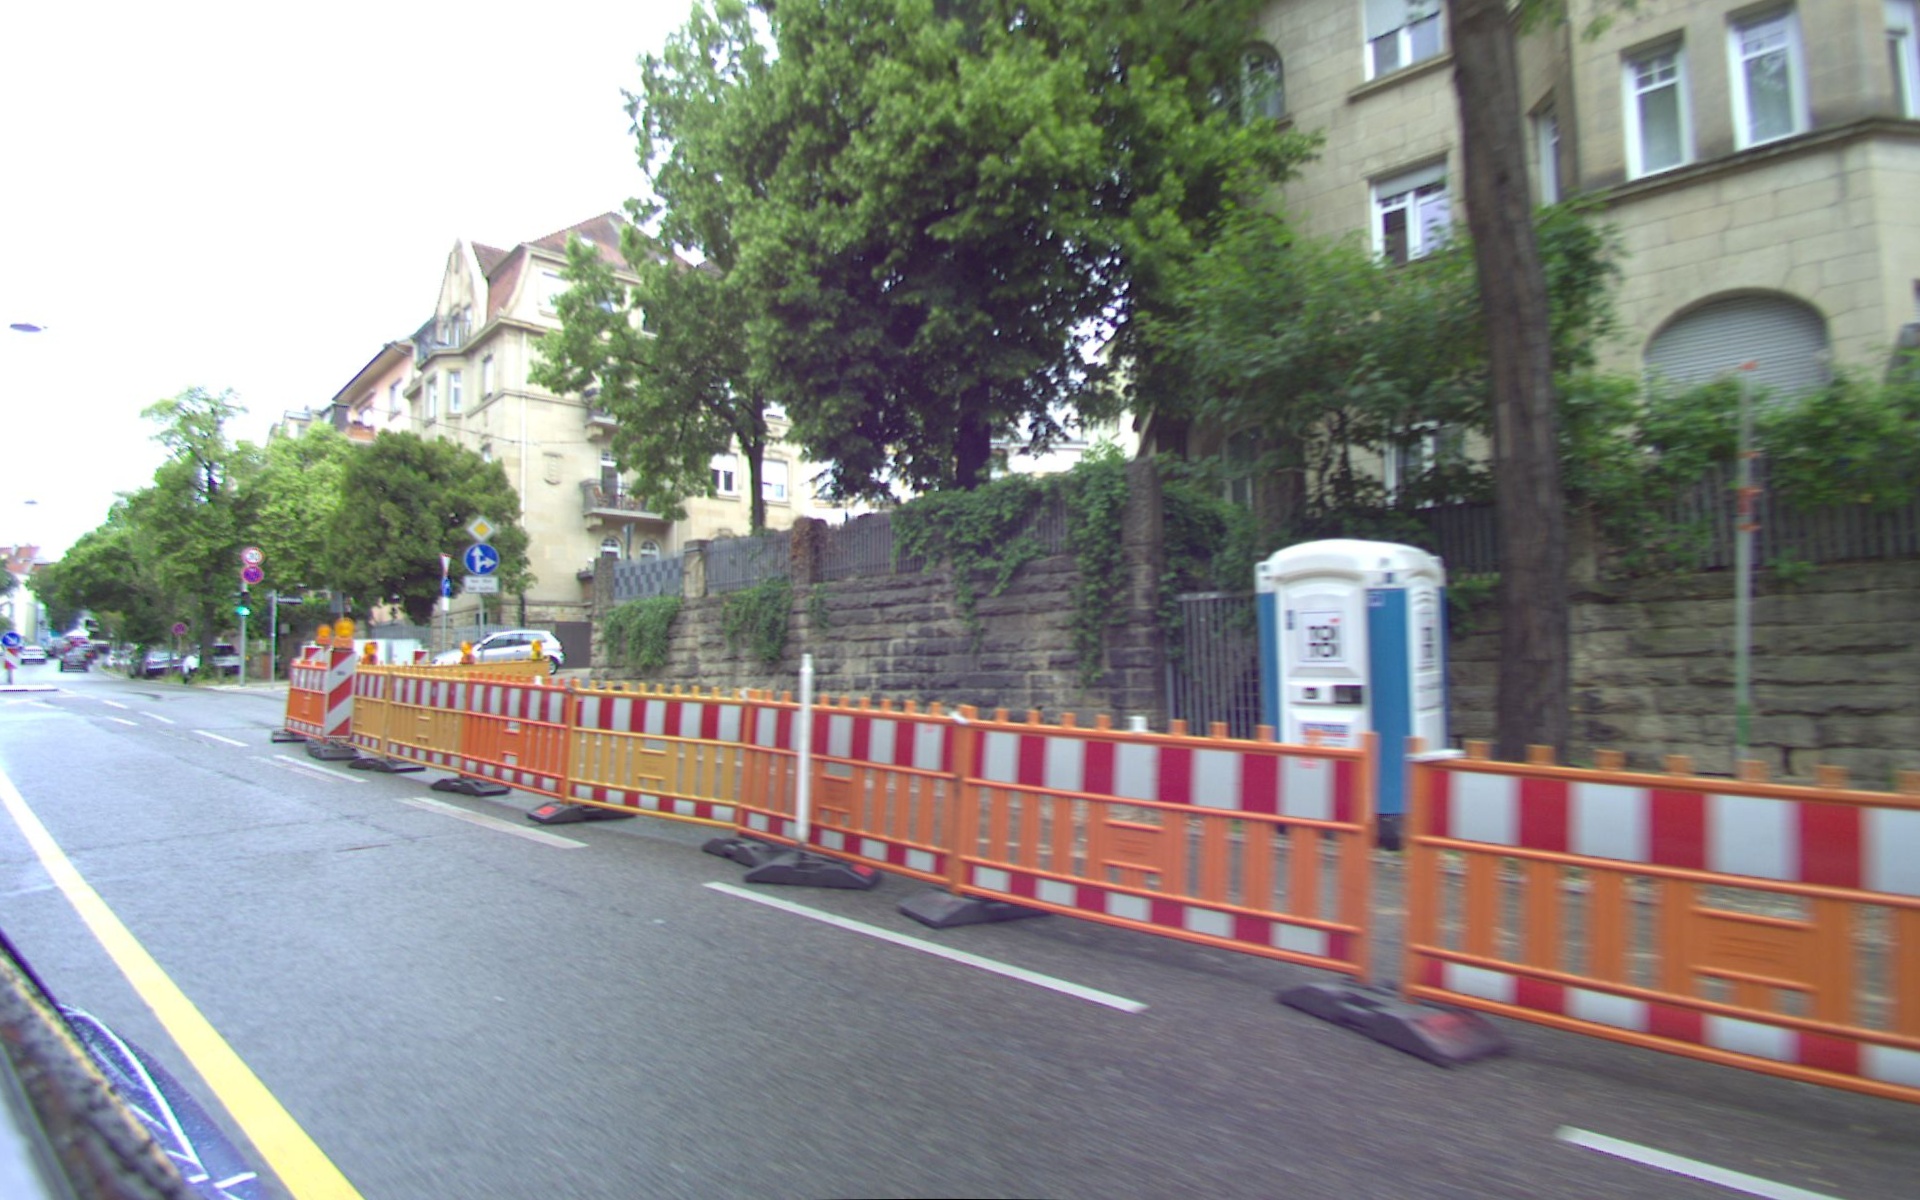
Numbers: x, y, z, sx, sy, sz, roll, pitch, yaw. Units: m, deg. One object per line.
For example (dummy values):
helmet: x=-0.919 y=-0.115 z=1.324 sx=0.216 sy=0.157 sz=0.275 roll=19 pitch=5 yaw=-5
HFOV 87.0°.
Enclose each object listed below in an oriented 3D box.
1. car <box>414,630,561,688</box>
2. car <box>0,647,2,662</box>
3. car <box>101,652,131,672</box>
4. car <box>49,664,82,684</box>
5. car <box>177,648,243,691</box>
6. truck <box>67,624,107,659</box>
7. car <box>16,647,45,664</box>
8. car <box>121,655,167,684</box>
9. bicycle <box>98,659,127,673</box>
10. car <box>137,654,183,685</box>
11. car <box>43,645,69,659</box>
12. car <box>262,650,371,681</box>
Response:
car: x=-14.695 y=1.791 z=31.536 sx=3.813 sy=1.419 sz=1.830 roll=-3 pitch=2 yaw=-38
car: x=-107.142 y=5.993 z=111.471 sx=1.896 sy=1.573 sz=4.020 roll=6 pitch=-5 yaw=-38
car: x=-73.818 y=5.422 z=88.496 sx=1.721 sy=1.571 sz=4.304 roll=-1 pitch=-1 yaw=-45
car: x=-72.315 y=6.008 z=81.893 sx=1.792 sy=1.529 sz=4.555 roll=4 pitch=-7 yaw=-40
car: x=-30.412 y=2.765 z=41.000 sx=1.720 sy=1.571 sz=4.307 roll=-1 pitch=-1 yaw=-42
truck: x=-103.213 y=4.924 z=119.551 sx=9.310 sy=3.884 sz=2.618 roll=-3 pitch=-5 yaw=44
car: x=-86.158 y=5.150 z=93.867 sx=1.750 sy=1.529 sz=4.106 roll=2 pitch=-3 yaw=-40
car: x=-50.732 y=4.278 z=62.888 sx=4.303 sy=1.571 sz=1.722 roll=-2 pitch=0 yaw=44
bicycle: x=-75.846 y=5.891 z=90.558 sx=1.952 sy=1.245 sz=0.658 roll=3 pitch=-3 yaw=-43
car: x=-44.943 y=3.875 z=56.823 sx=1.720 sy=1.571 sz=4.307 roll=-1 pitch=-1 yaw=-42
car: x=-100.122 y=5.783 z=112.118 sx=1.689 sy=1.491 sz=4.123 roll=4 pitch=-4 yaw=-36
car: x=-29.700 y=3.029 z=46.767 sx=3.940 sy=1.337 sz=1.838 roll=2 pitch=-5 yaw=-44
